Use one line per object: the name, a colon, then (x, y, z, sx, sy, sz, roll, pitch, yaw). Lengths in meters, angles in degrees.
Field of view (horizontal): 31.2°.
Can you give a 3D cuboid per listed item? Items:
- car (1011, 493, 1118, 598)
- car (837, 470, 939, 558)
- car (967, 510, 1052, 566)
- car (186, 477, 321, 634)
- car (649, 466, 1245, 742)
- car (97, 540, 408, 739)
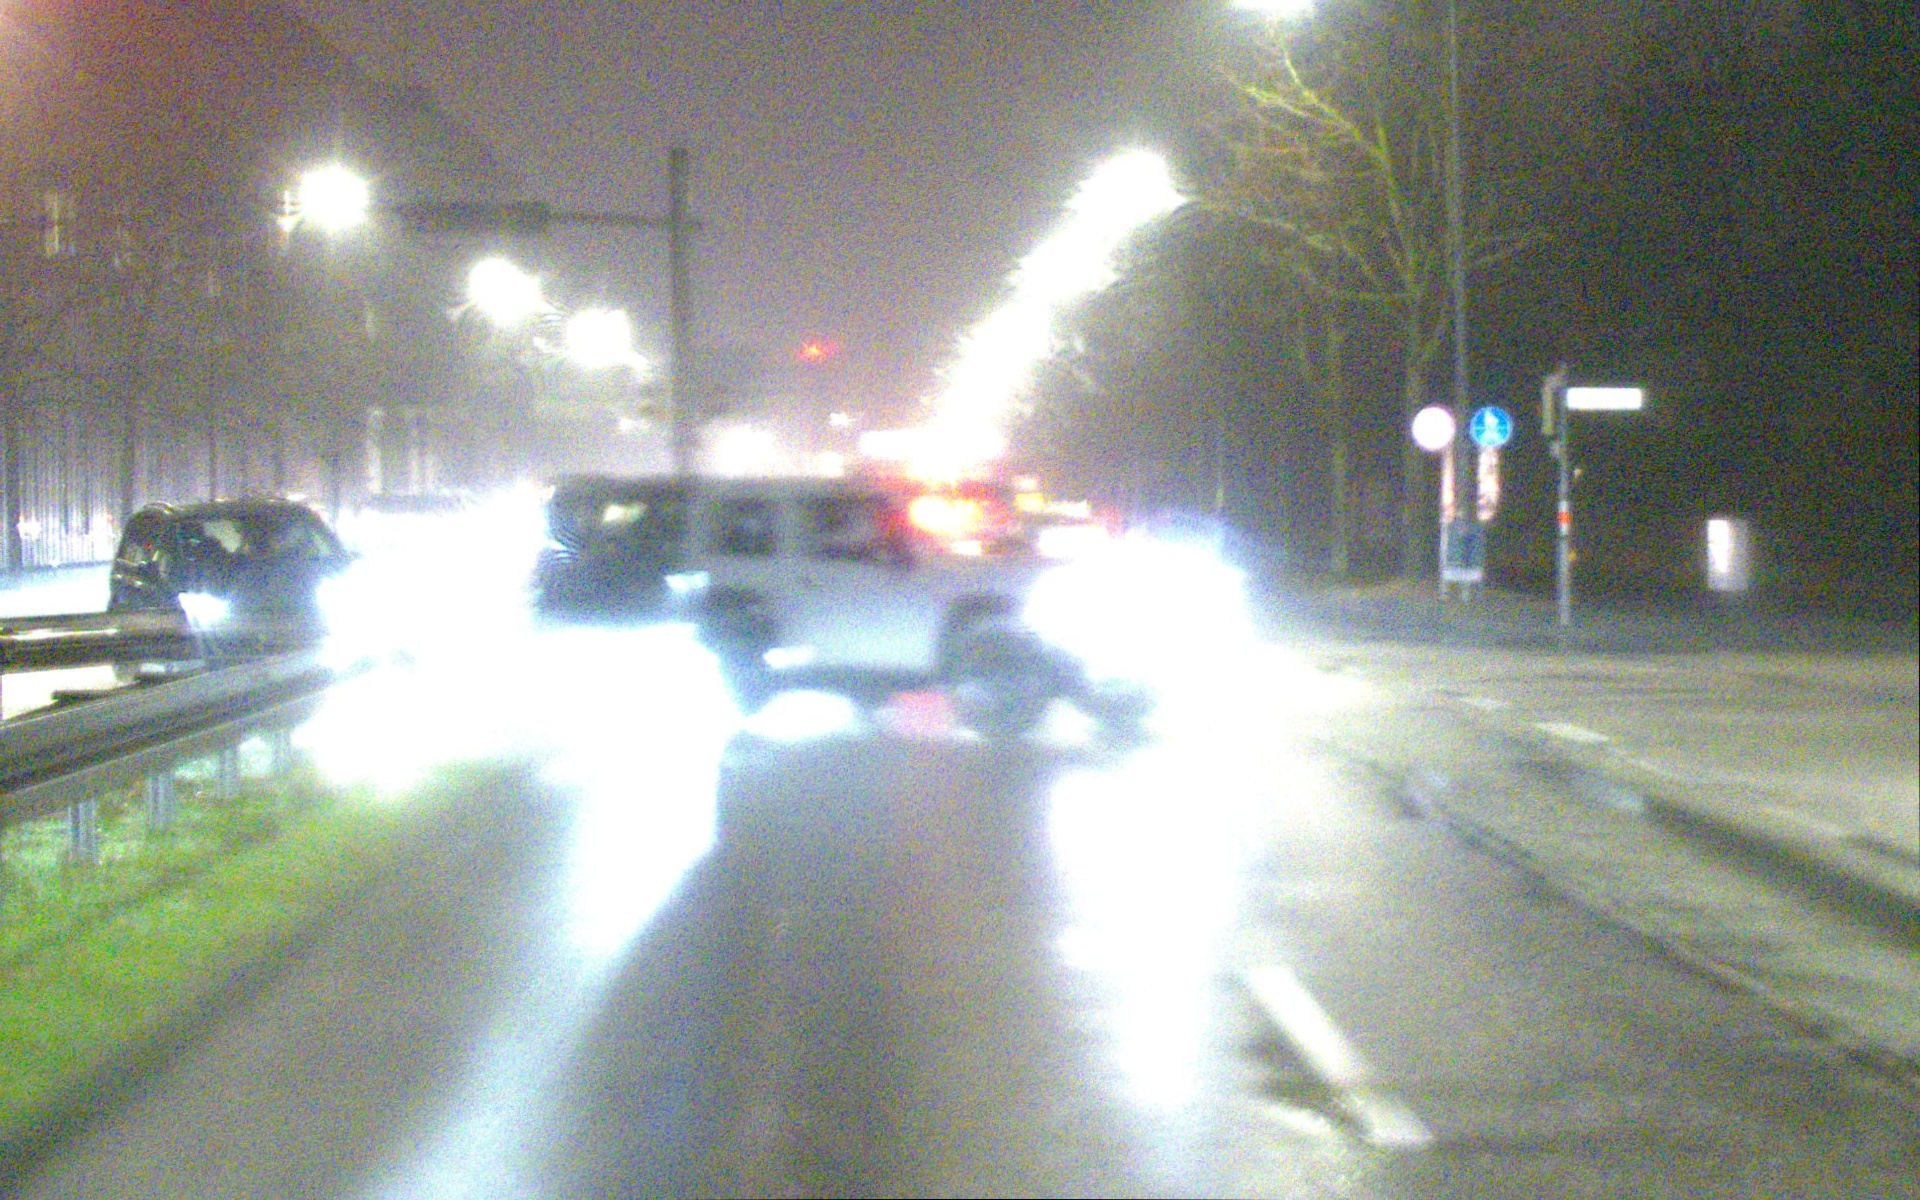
car: (2.068, -1.068, 67.839, 2.038, 2.007, 4.307, 0, 1, 2)
car: (-1.900, -2.198, 89.205, 2.441, 2.186, 5.080, 0, 1, -3)
car: (1.380, -1.741, 97.831, 2.091, 1.540, 4.307, 0, 1, -3)
car: (-9.404, -0.584, 45.833, 1.698, 2.007, 3.569, 0, 1, -11)
car: (-0.126, 0.005, 23.310, 3.760, 1.728, 1.719, 1, 1, 36)
car: (-6.494, 0.309, 31.199, 1.952, 1.667, 4.418, 0, 1, -23)
